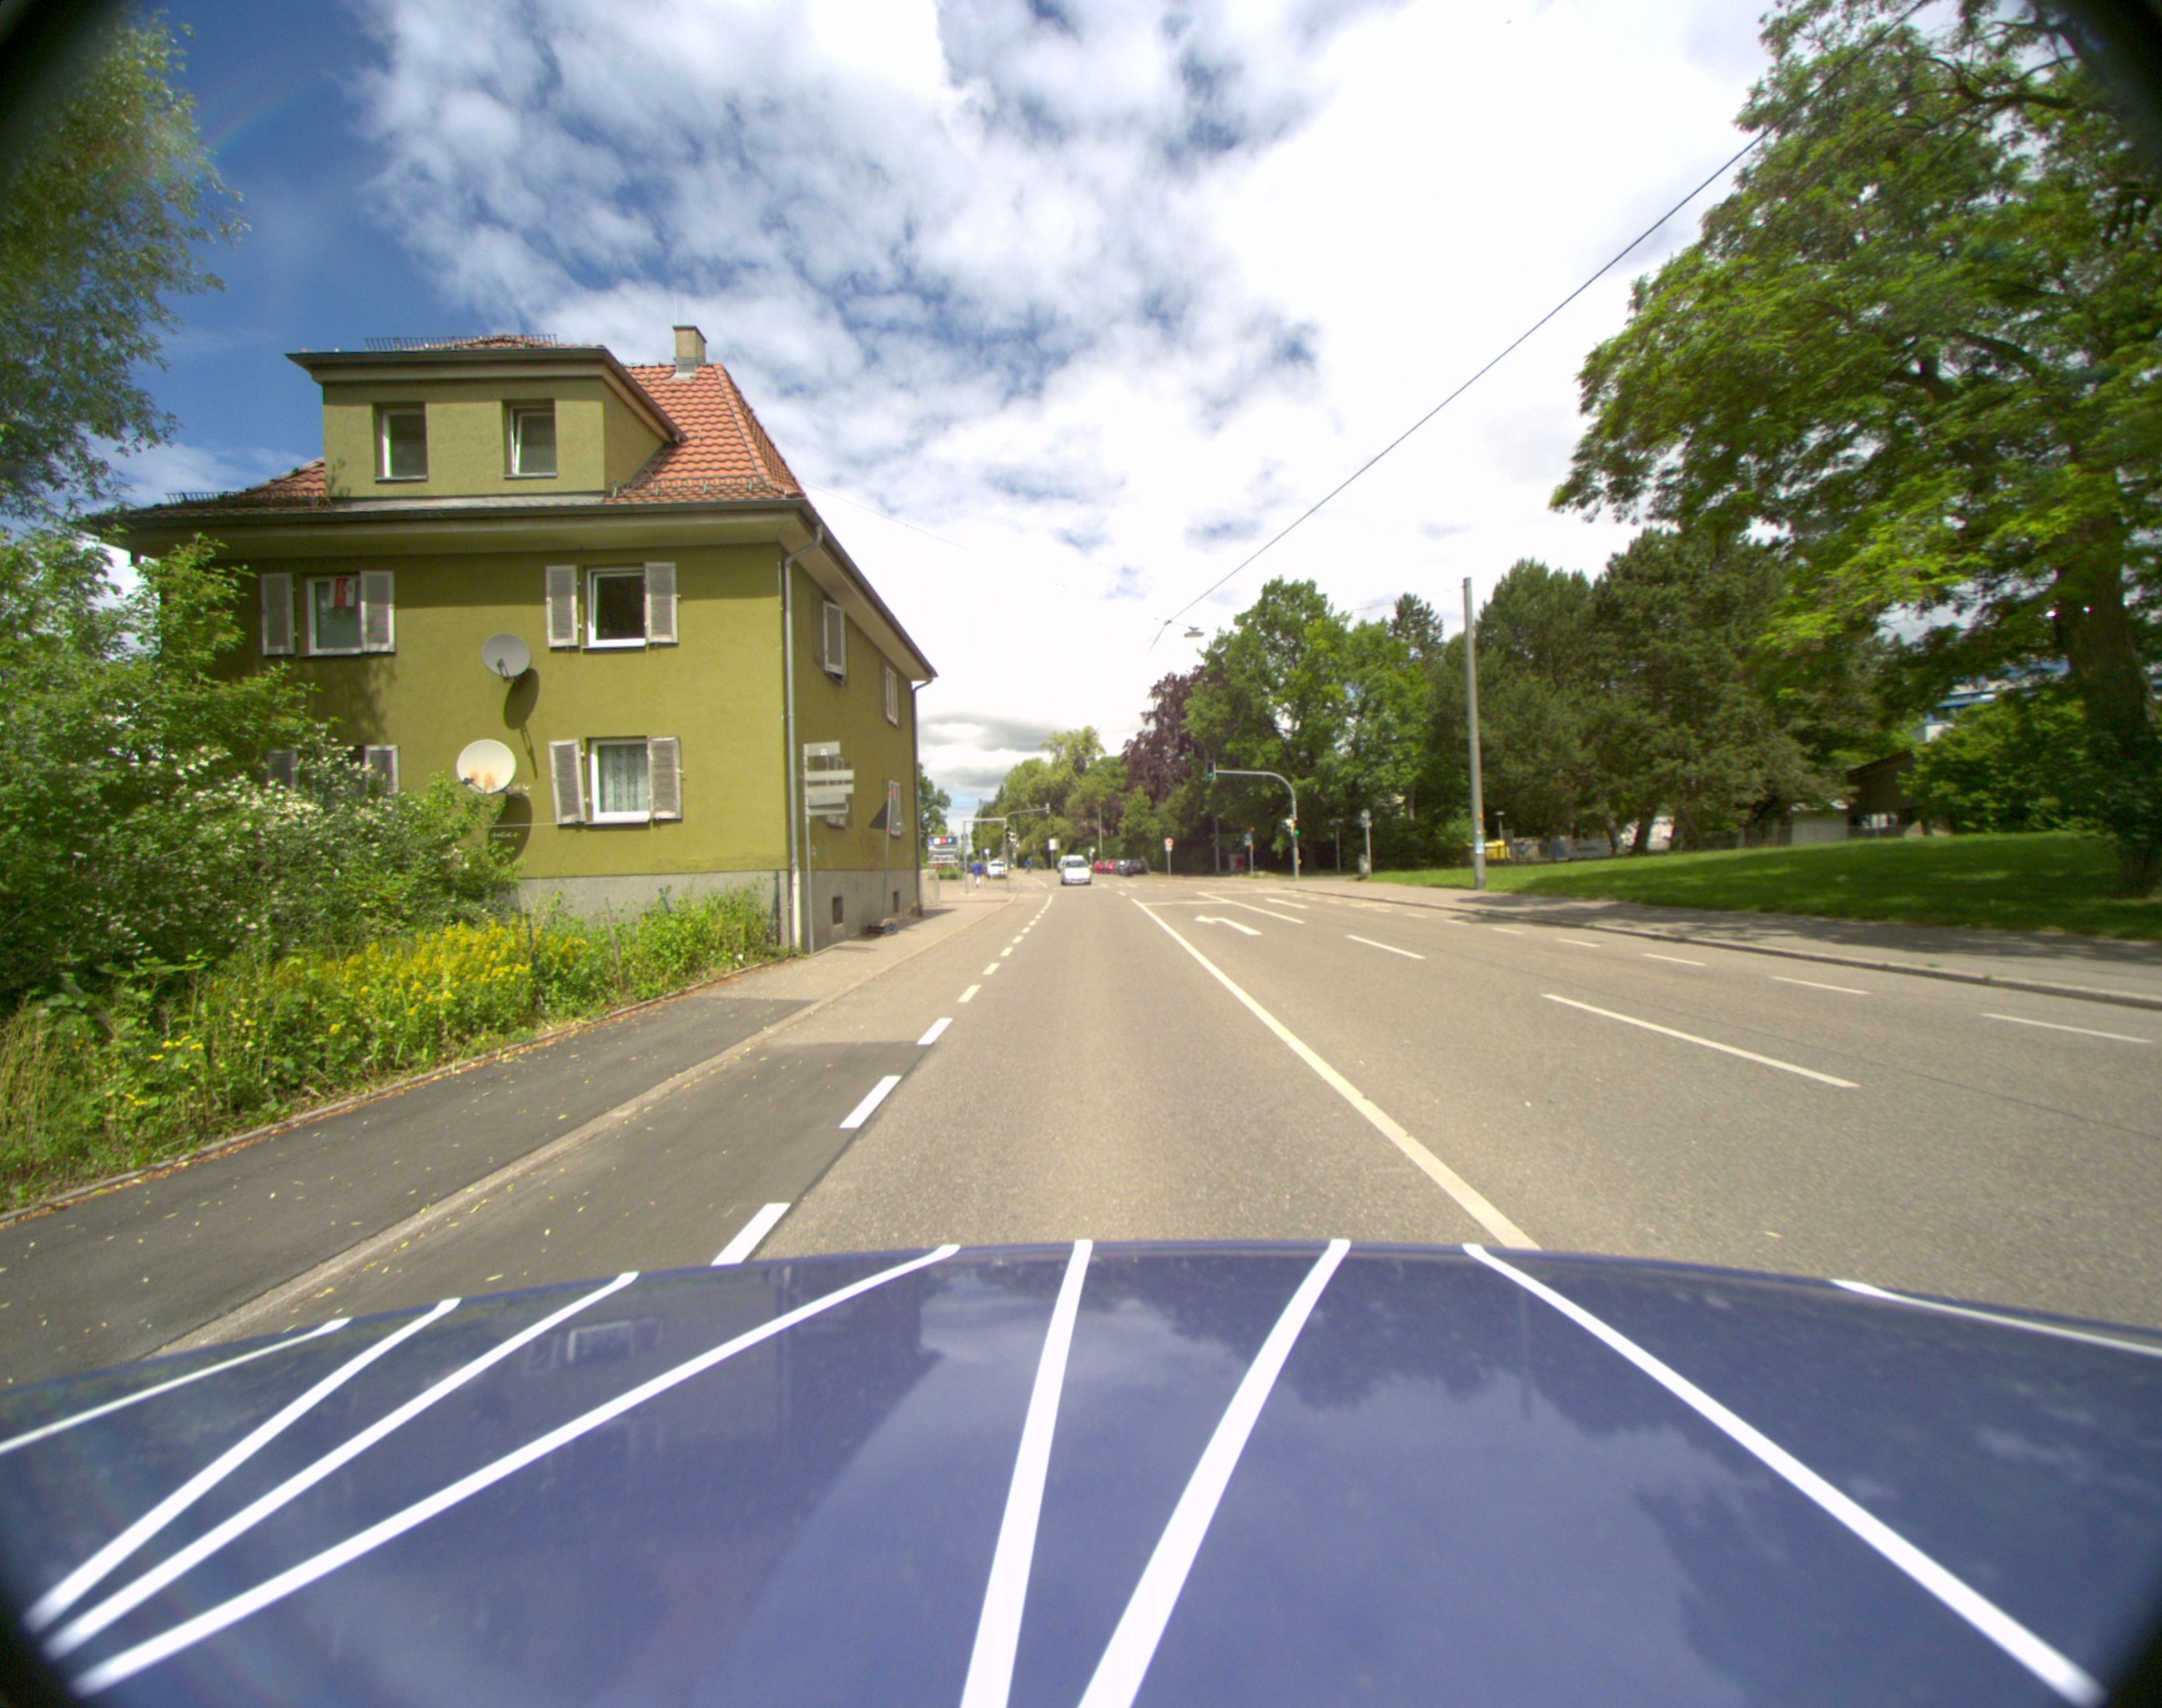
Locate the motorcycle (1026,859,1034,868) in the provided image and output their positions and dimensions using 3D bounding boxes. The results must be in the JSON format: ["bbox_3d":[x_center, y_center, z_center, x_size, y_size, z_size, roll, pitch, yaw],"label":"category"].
[{"bbox_3d":[-6.031,1.137,90.522,0.837,1.101,1.800,0,0,-1],"label":"motorcycle"}]

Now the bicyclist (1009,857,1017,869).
[{"bbox_3d":[-9.321,1.211,104.218,0.809,1.599,0.770,-4,1,-30],"label":"bicyclist"}]

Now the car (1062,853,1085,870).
[{"bbox_3d":[-0.854,0.773,83.952,1.800,1.787,4.499,-1,0,-9],"label":"car"}]

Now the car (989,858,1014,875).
[{"bbox_3d":[-7.176,1.112,68.983,1.799,1.501,3.999,-1,0,0],"label":"car"}]

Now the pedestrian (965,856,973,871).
[{"bbox_3d":[-12.871,1.120,87.635,0.723,1.651,0.777,-4,1,-4],"label":"pedestrian"}]

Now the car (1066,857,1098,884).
[{"bbox_3d":[0.043,0.980,46.073,1.781,1.519,4.000,-2,0,0],"label":"car"}]

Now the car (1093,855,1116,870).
[{"bbox_3d":[2.497,0.905,82.206,1.900,1.501,3.997,0,1,-7],"label":"car"}]

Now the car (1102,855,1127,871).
[{"bbox_3d":[3.374,0.928,77.222,1.900,1.501,3.997,0,1,-7],"label":"car"}]

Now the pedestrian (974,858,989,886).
[{"bbox_3d":[-5.587,0.990,42.493,0.729,1.543,1.056,-2,0,-10],"label":"pedestrian"}]

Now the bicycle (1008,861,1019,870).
[{"bbox_3d":[-9.301,1.568,104.237,0.815,1.101,1.796,-4,0,-30],"label":"bicycle"}]

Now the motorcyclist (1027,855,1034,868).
[{"bbox_3d":[-6.044,0.865,90.532,0.837,1.547,0.650,0,1,-1],"label":"motorcyclist"}]

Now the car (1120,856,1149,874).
[{"bbox_3d":[4.709,0.986,67.540,1.900,1.501,3.997,0,1,-7],"label":"car"}]
